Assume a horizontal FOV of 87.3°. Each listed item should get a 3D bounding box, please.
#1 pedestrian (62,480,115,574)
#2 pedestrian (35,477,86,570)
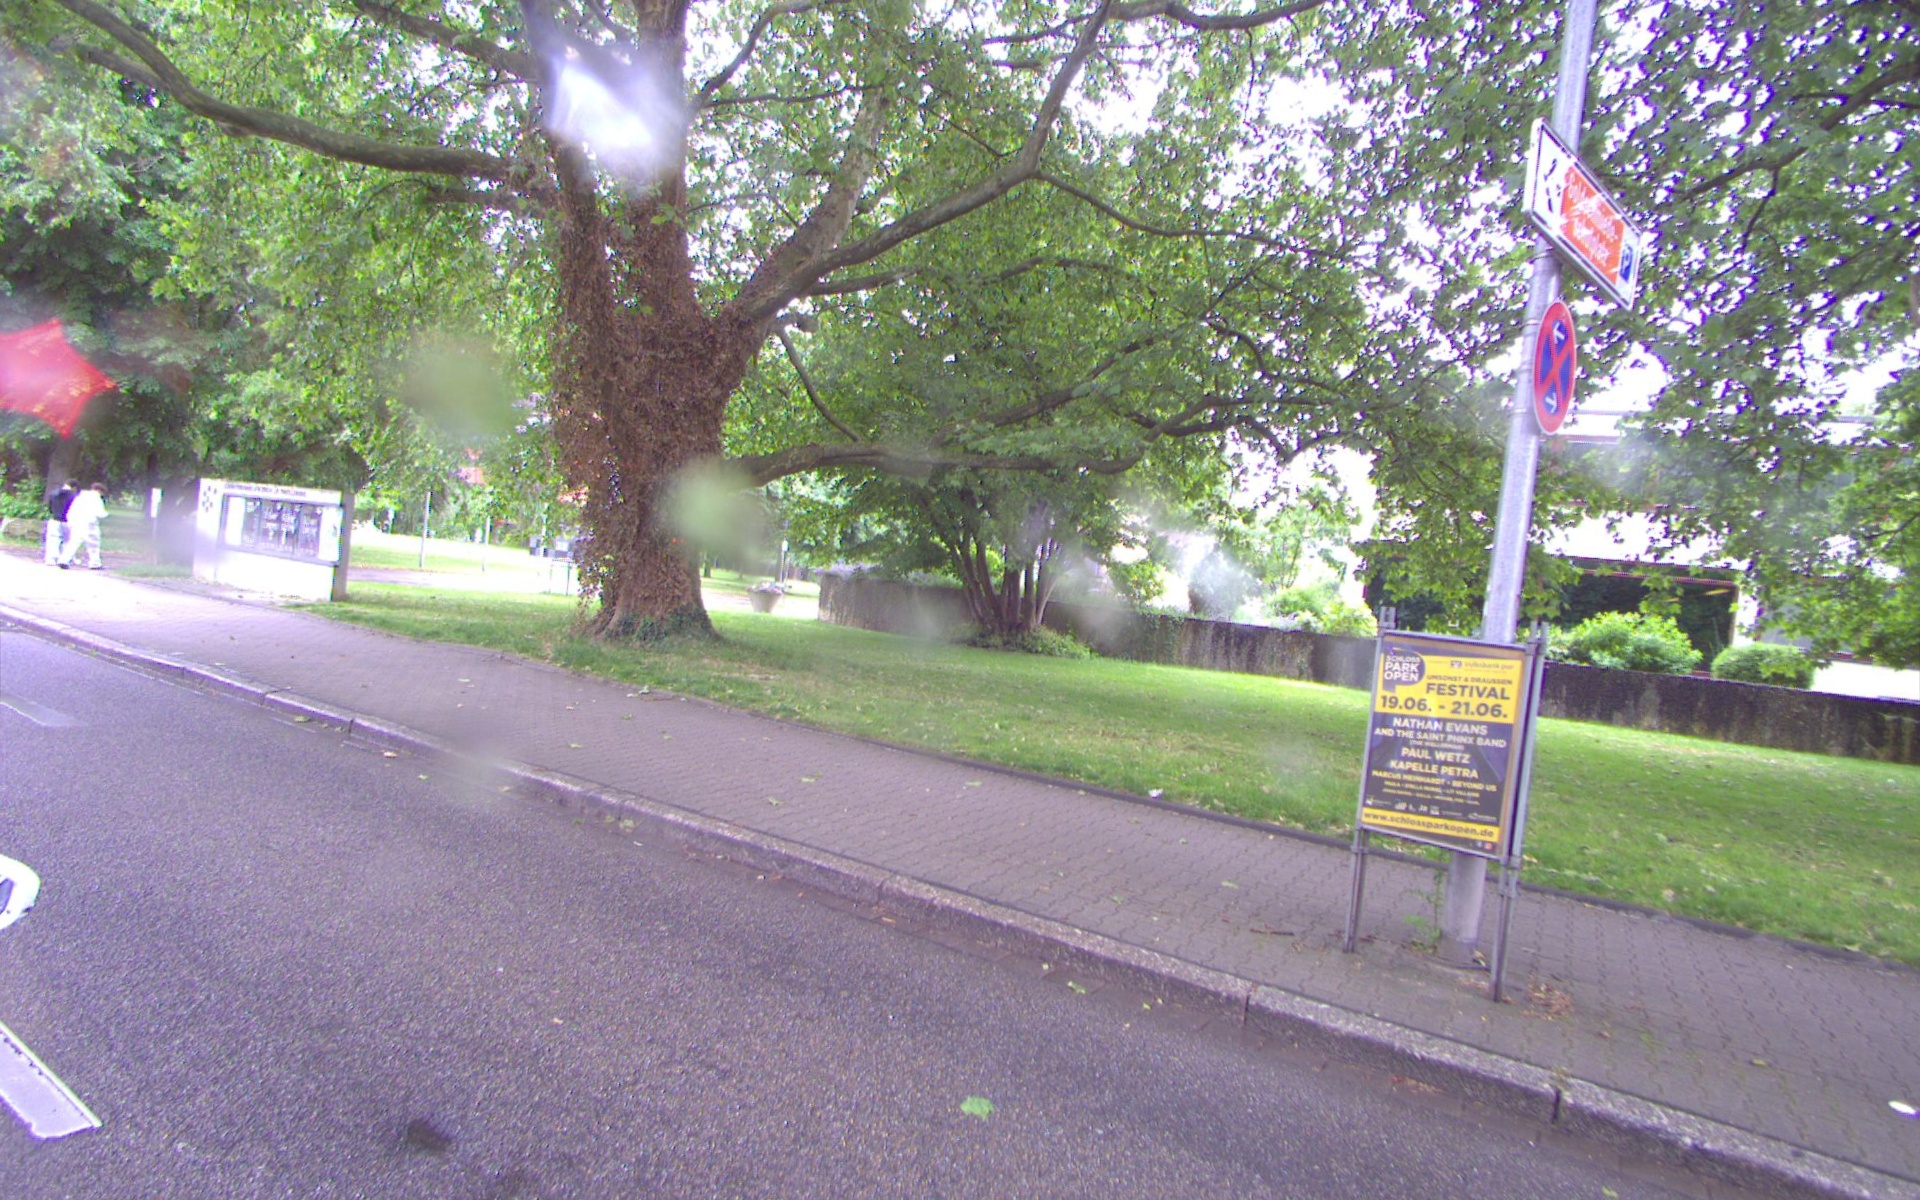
[{"bbox_3d":[-16.947,-1.406,19.560,0.550,1.744,0.504,7,2,25],"label":"pedestrian"},{"bbox_3d":[-17.802,-1.505,19.903,0.550,1.744,0.485,7,2,25],"label":"pedestrian"}]
